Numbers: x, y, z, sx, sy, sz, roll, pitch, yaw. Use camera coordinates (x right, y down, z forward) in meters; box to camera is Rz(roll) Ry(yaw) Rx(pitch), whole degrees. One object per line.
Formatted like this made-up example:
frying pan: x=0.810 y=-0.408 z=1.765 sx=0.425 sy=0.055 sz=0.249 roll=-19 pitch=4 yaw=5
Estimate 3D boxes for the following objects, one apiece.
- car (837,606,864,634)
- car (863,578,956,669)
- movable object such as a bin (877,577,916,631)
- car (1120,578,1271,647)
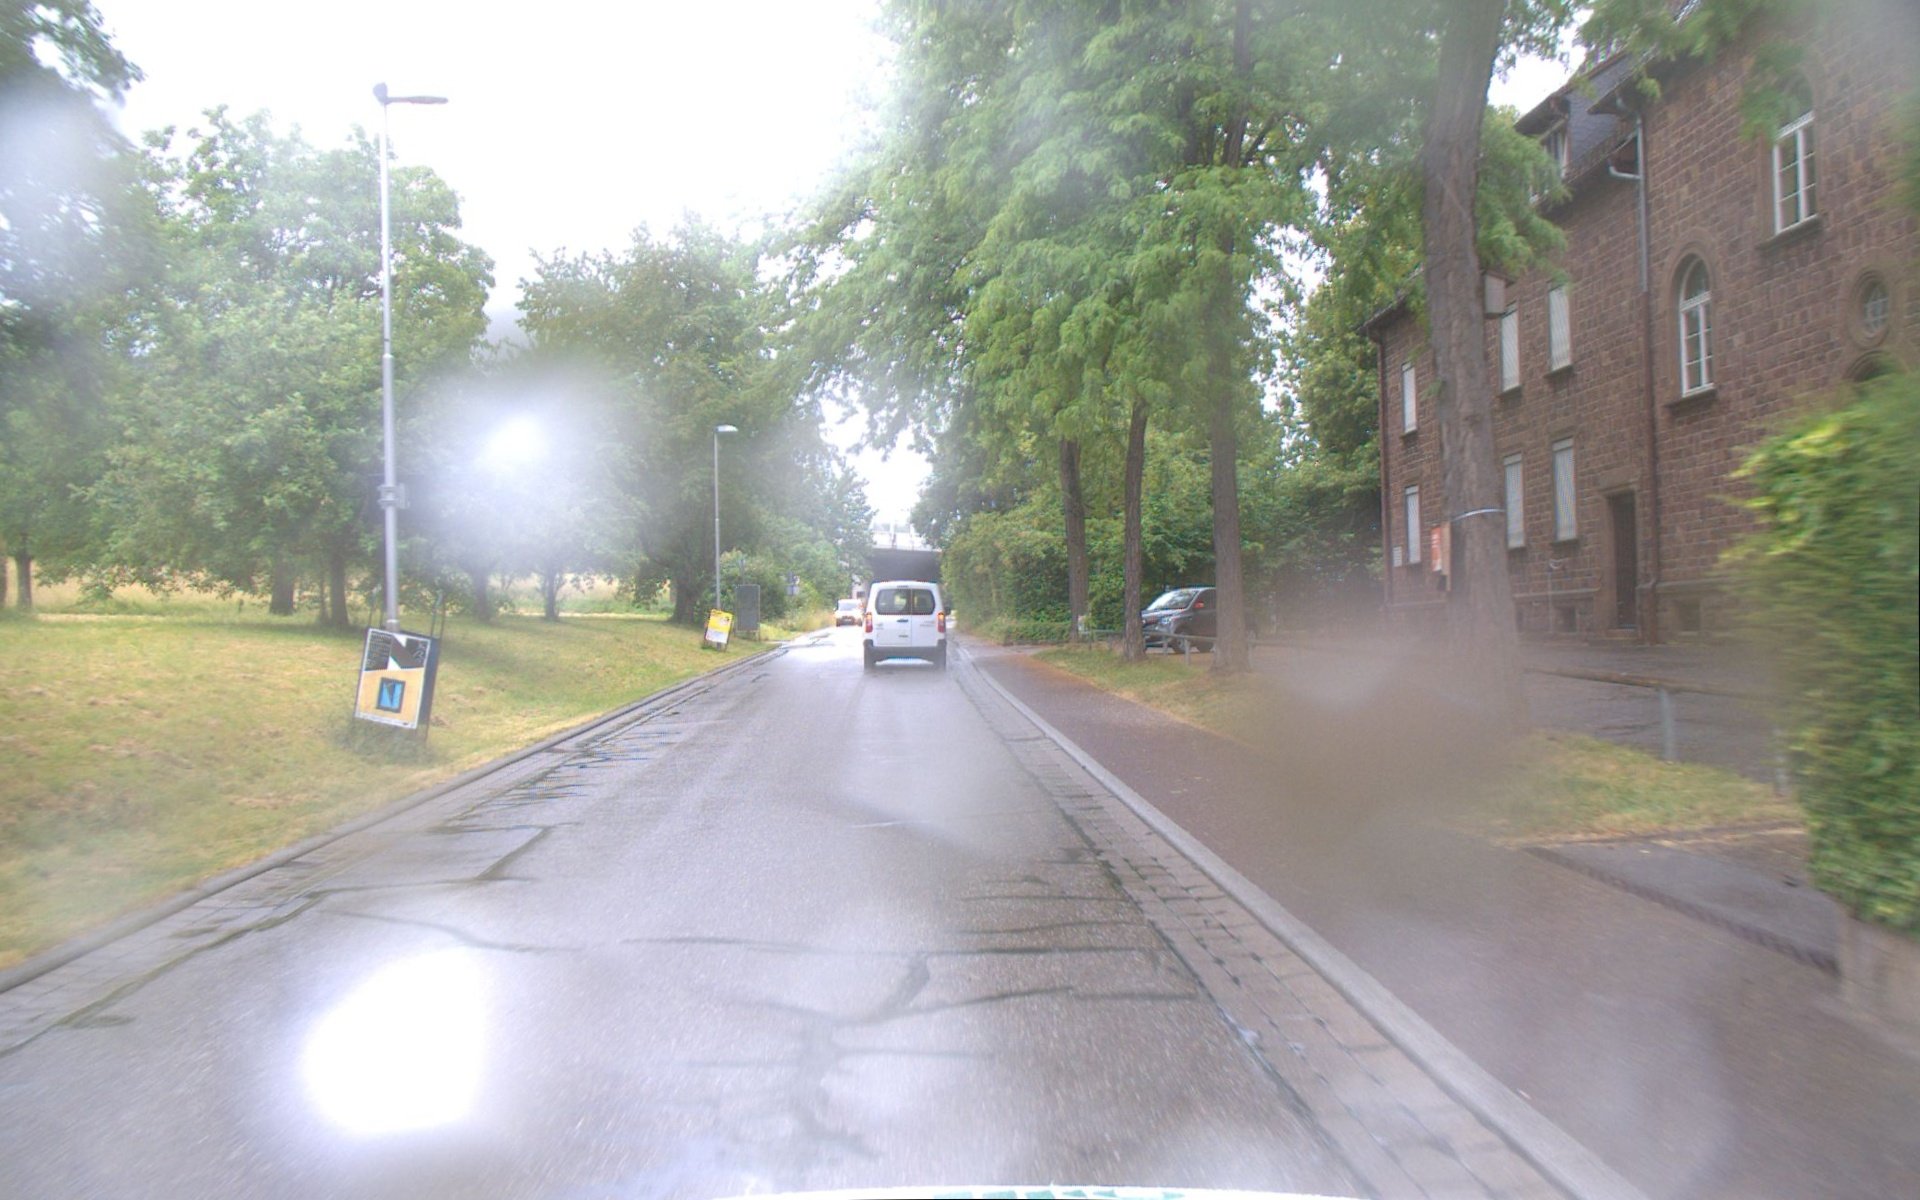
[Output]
car: x=-7.390 y=1.380 z=111.892 sx=1.787 sy=1.864 sz=4.304 roll=0 pitch=-1 yaw=-4
car: x=-1.088 y=0.482 z=36.057 sx=1.858 sy=1.838 sz=3.999 roll=-1 pitch=0 yaw=-1
movable object such as a bin: x=-3.125 y=0.223 z=82.229 sx=1.725 sy=2.592 sz=4.239 roll=0 pitch=-1 yaw=0
car: x=5.738 y=0.296 z=40.141 sx=3.577 sy=1.578 sz=1.599 roll=0 pitch=-1 yaw=-39
